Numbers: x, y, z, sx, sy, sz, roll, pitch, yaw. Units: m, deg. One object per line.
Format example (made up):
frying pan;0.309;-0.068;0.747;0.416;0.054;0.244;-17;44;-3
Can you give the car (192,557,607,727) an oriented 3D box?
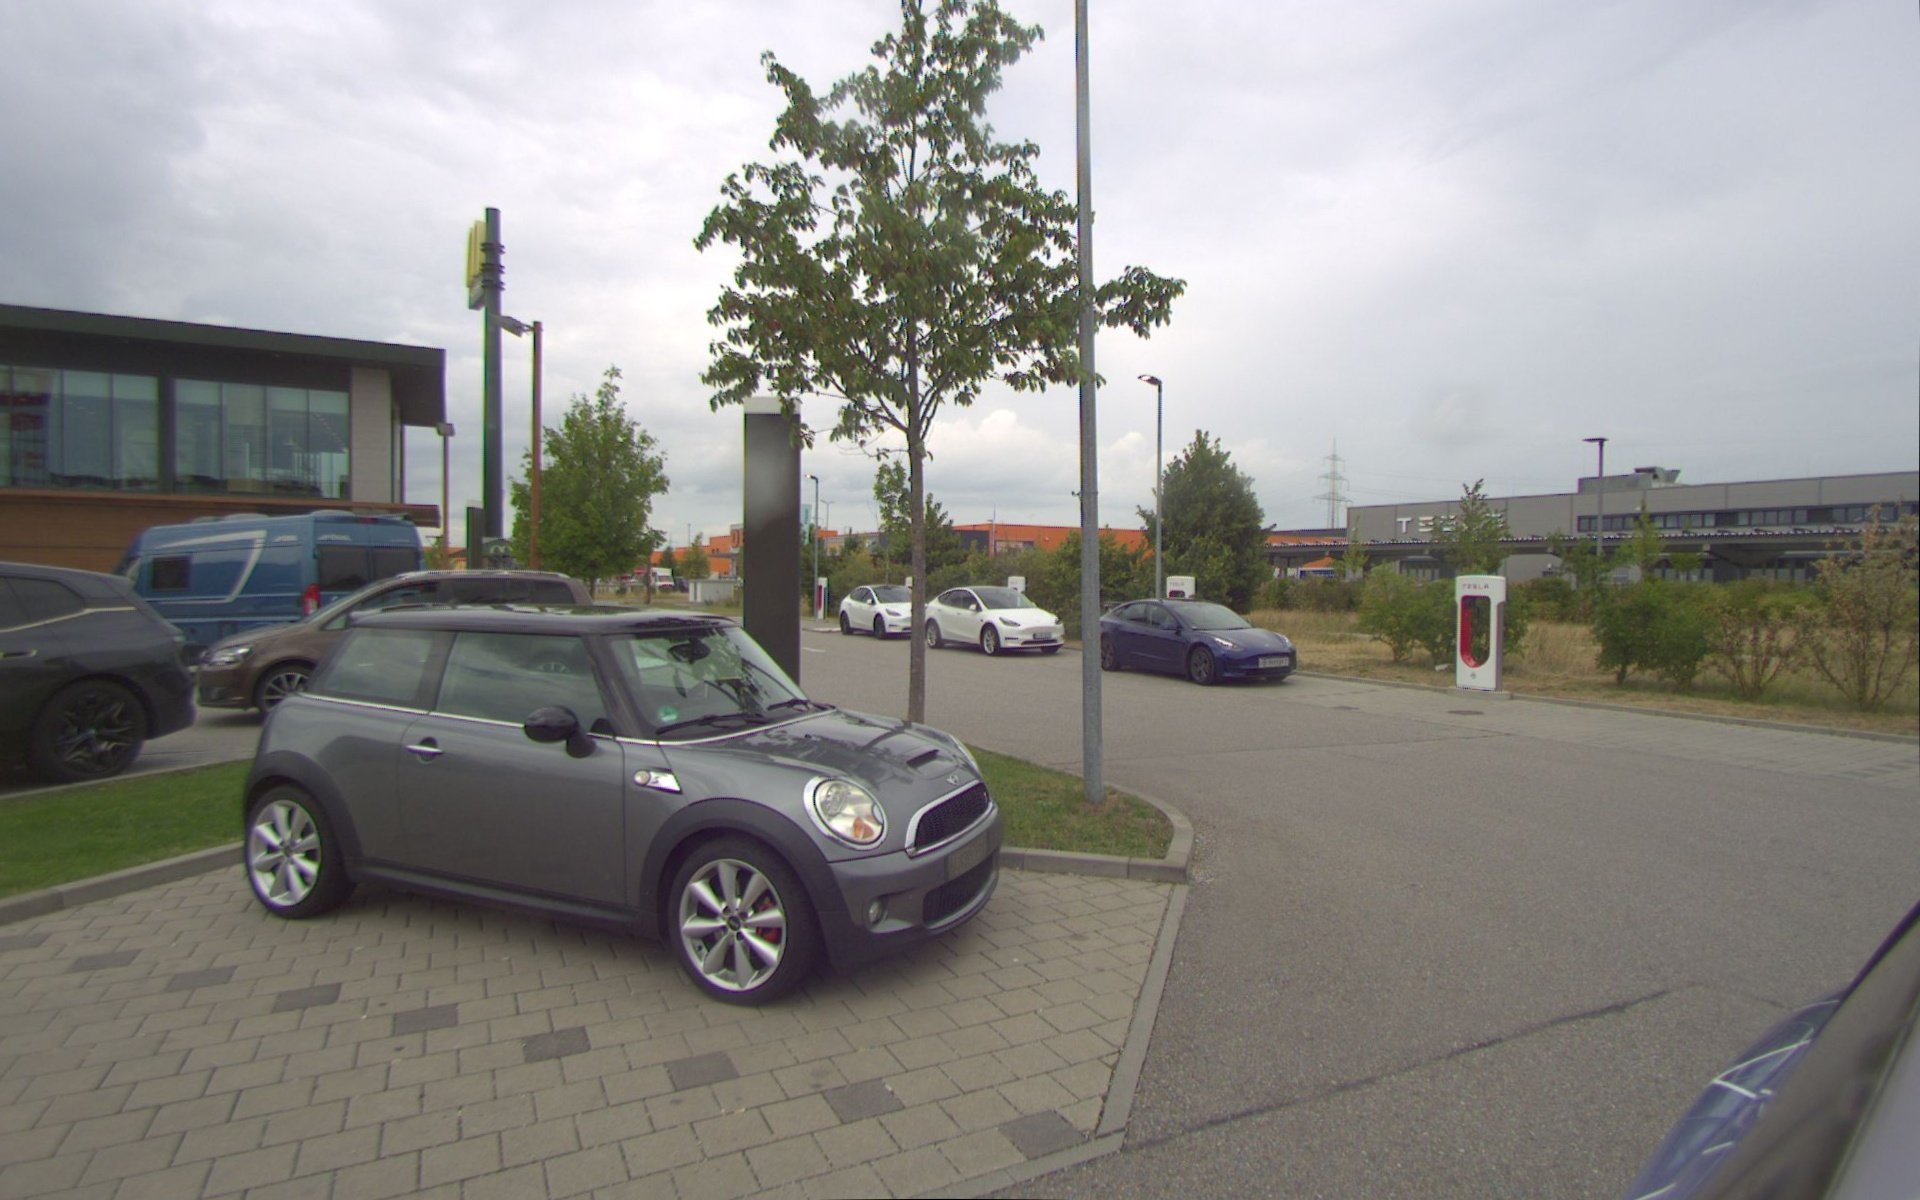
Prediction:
car;-6.589;0.368;12.139;4.112;1.710;1.811;-1;2;-36

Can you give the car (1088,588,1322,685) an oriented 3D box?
car;4.339;0.562;18.731;1.796;1.477;4.465;-1;2;-25

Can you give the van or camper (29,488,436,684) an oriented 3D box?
van or camper;-11.733;-0.177;16.267;6.493;2.735;2.157;0;0;21

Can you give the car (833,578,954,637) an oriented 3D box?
car;-2.191;0.169;31.781;2.031;1.622;4.953;0;2;-27

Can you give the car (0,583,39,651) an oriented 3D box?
car;-23.432;0.462;22.557;1.766;1.504;3.981;2;3;16

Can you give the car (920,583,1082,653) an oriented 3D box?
car;0.909;0.370;25.388;2.031;1.573;4.484;0;1;-29

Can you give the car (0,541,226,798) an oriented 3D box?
car;-7.706;0.474;6.361;1.971;1.749;4.873;0;0;15

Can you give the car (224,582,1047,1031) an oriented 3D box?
car;-1.504;0.674;4.780;3.486;1.393;1.598;2;1;22
